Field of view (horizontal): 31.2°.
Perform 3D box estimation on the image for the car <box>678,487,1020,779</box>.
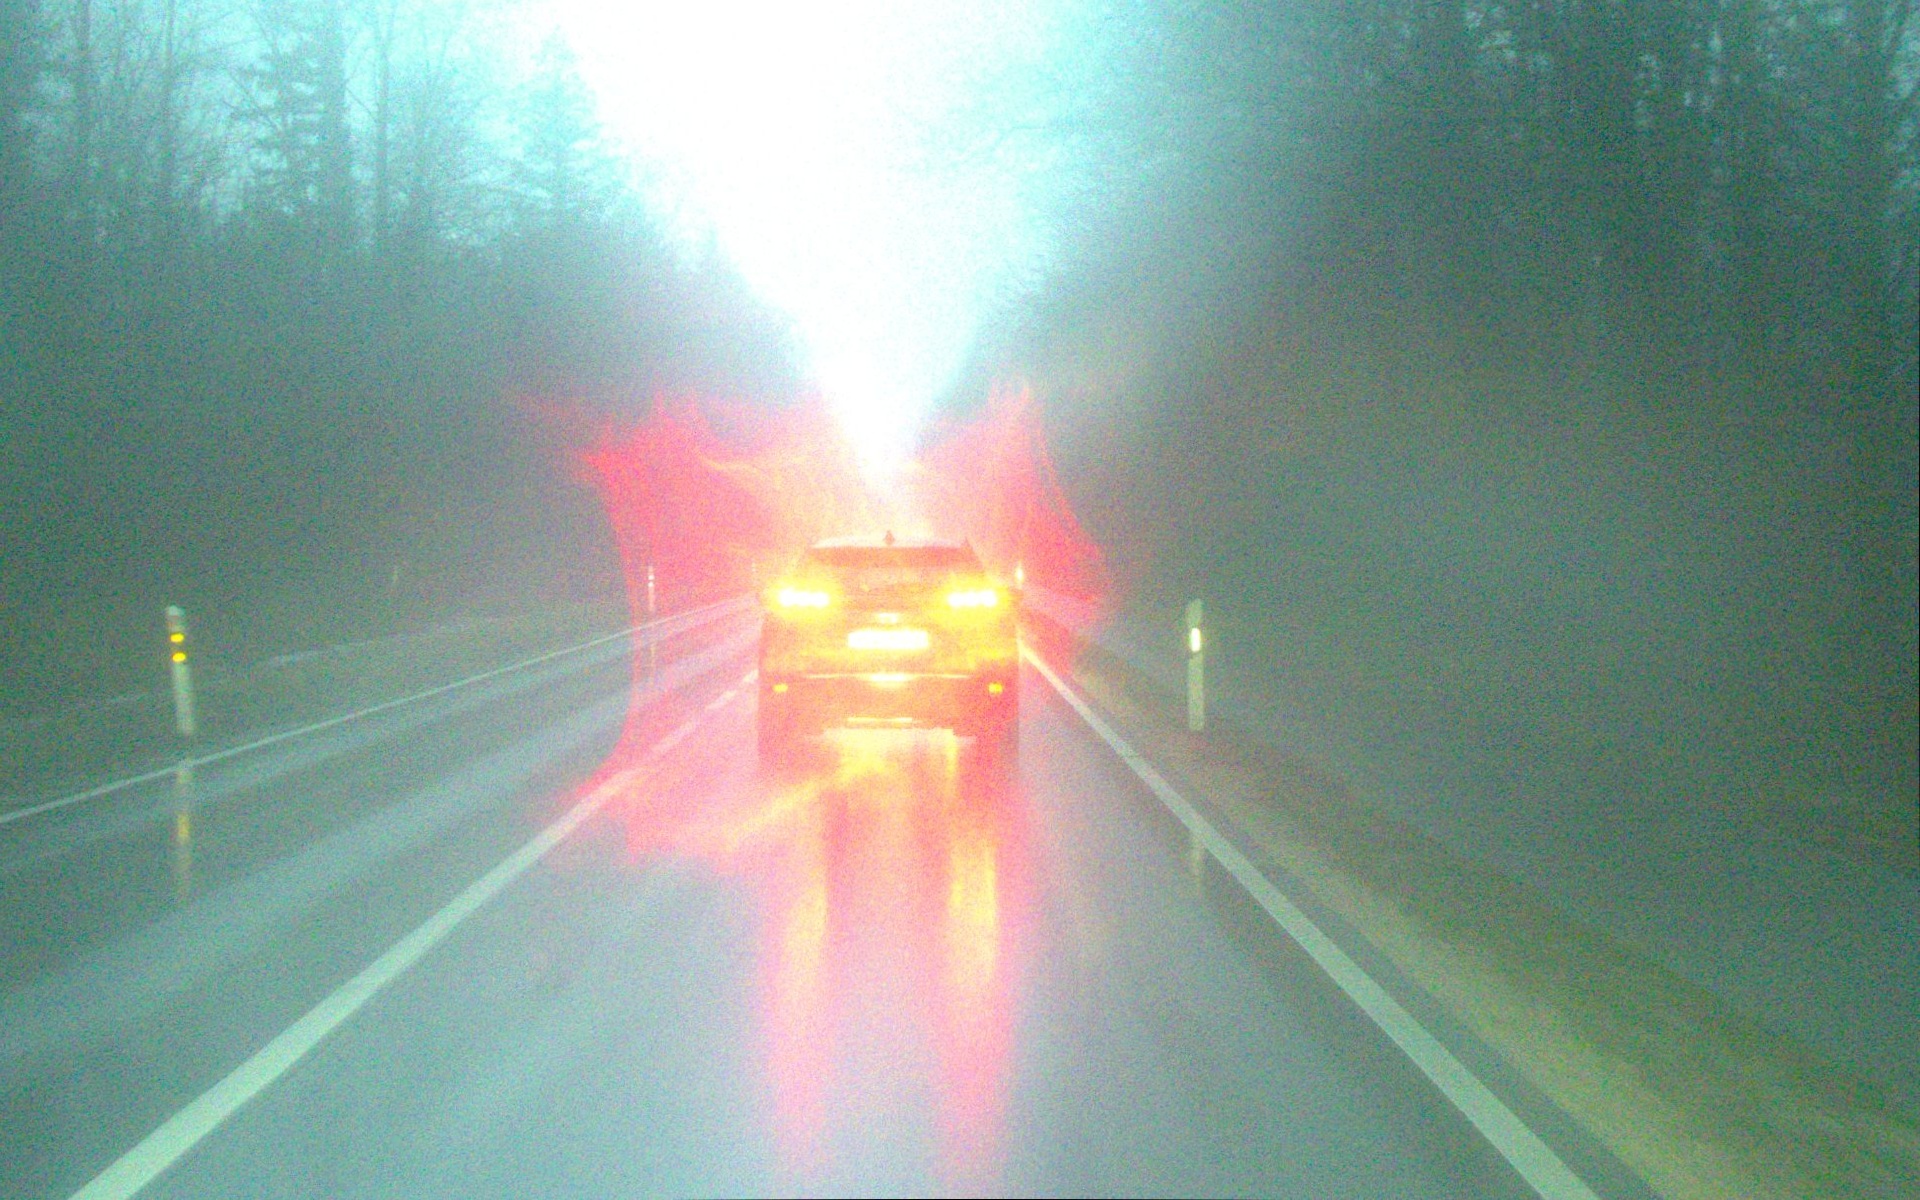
[{"bbox_3d":[-0.768,0.173,24.732,2.198,1.871,4.827,1,1,-1],"label":"car"}]
